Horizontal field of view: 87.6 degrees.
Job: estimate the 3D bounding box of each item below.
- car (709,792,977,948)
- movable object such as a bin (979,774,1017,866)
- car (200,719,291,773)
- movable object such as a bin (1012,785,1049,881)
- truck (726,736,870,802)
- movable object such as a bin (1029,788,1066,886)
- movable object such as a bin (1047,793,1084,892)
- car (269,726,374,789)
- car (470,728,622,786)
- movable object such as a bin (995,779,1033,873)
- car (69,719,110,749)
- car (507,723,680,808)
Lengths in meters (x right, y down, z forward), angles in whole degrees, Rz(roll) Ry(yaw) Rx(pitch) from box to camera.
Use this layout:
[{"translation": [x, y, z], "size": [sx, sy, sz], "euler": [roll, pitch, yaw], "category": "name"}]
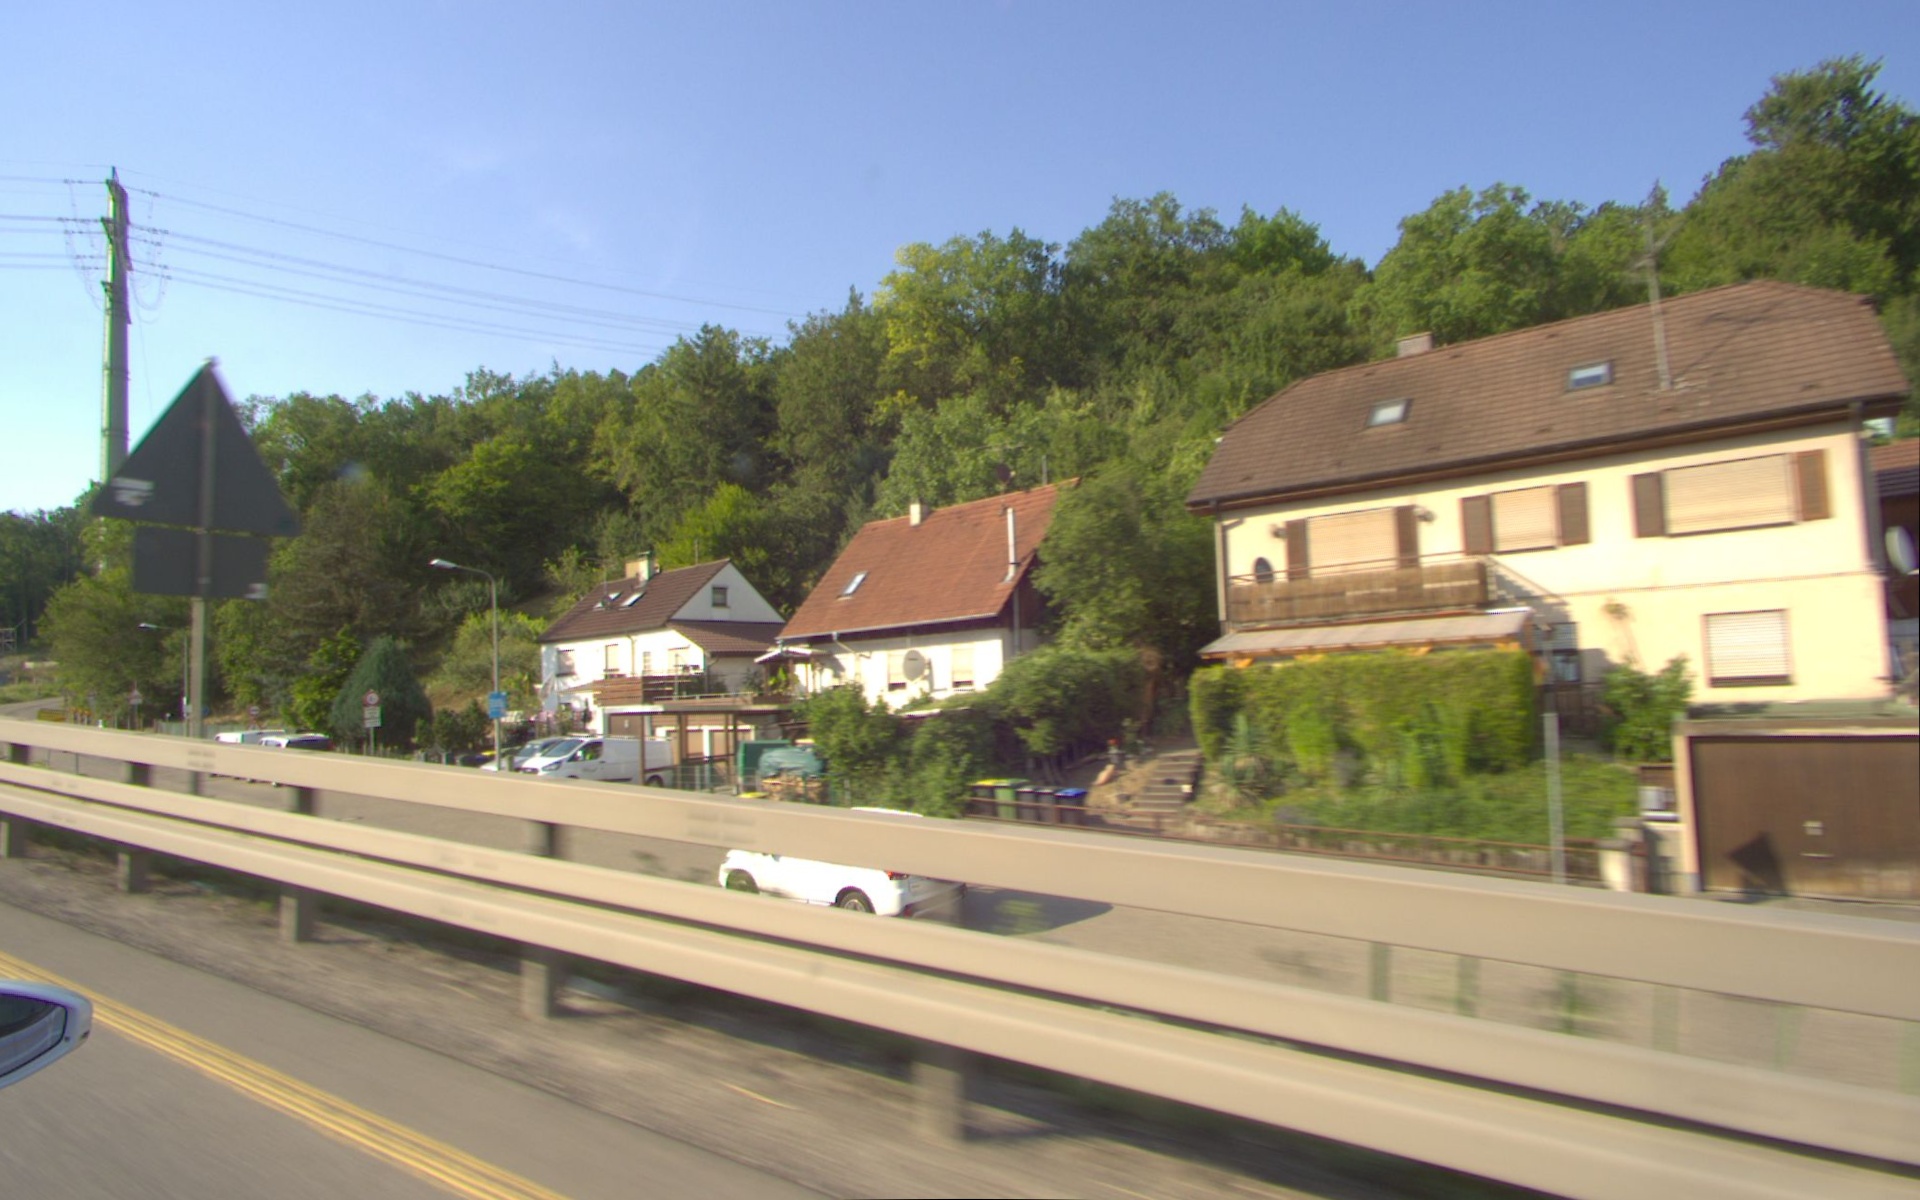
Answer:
[{"translation": [-2.009, 4.238, 16.320], "size": [4.417, 1.682, 1.662], "euler": [-4, -2, 38], "category": "car"}, {"translation": [0.782, 4.446, 20.279], "size": [0.411, 1.787, 0.528], "euler": [-4, -12, 41], "category": "movable object such as a bin"}, {"translation": [-31.520, 6.358, 44.142], "size": [4.990, 2.011, 1.856], "euler": [-4, -2, 37], "category": "car"}, {"translation": [1.396, 4.566, 19.681], "size": [0.409, 1.787, 0.488], "euler": [-4, -12, 41], "category": "movable object such as a bin"}, {"translation": [-4.660, 4.809, 28.700], "size": [3.927, 1.756, 2.003], "euler": [2, -8, -13], "category": "truck"}, {"translation": [1.697, 4.579, 19.387], "size": [0.409, 1.787, 0.488], "euler": [-4, -12, 41], "category": "movable object such as a bin"}, {"translation": [2.015, 4.617, 19.110], "size": [0.409, 1.787, 0.488], "euler": [-4, -12, 41], "category": "movable object such as a bin"}, {"translation": [-24.512, 5.963, 38.378], "size": [4.808, 1.941, 1.987], "euler": [-4, -3, 40], "category": "car"}, {"translation": [-15.196, 5.744, 37.054], "size": [1.694, 1.576, 5.075], "euler": [-3, -3, 36], "category": "car"}, {"translation": [1.088, 4.506, 19.977], "size": [0.404, 1.787, 0.534], "euler": [-4, -12, 41], "category": "movable object such as a bin"}, {"translation": [-54.715, 8.384, 62.917], "size": [4.223, 1.479, 1.517], "euler": [-2, -1, 43], "category": "car"}, {"translation": [-12.491, 5.578, 34.486], "size": [1.975, 2.291, 5.451], "euler": [-3, -4, 36], "category": "car"}]
